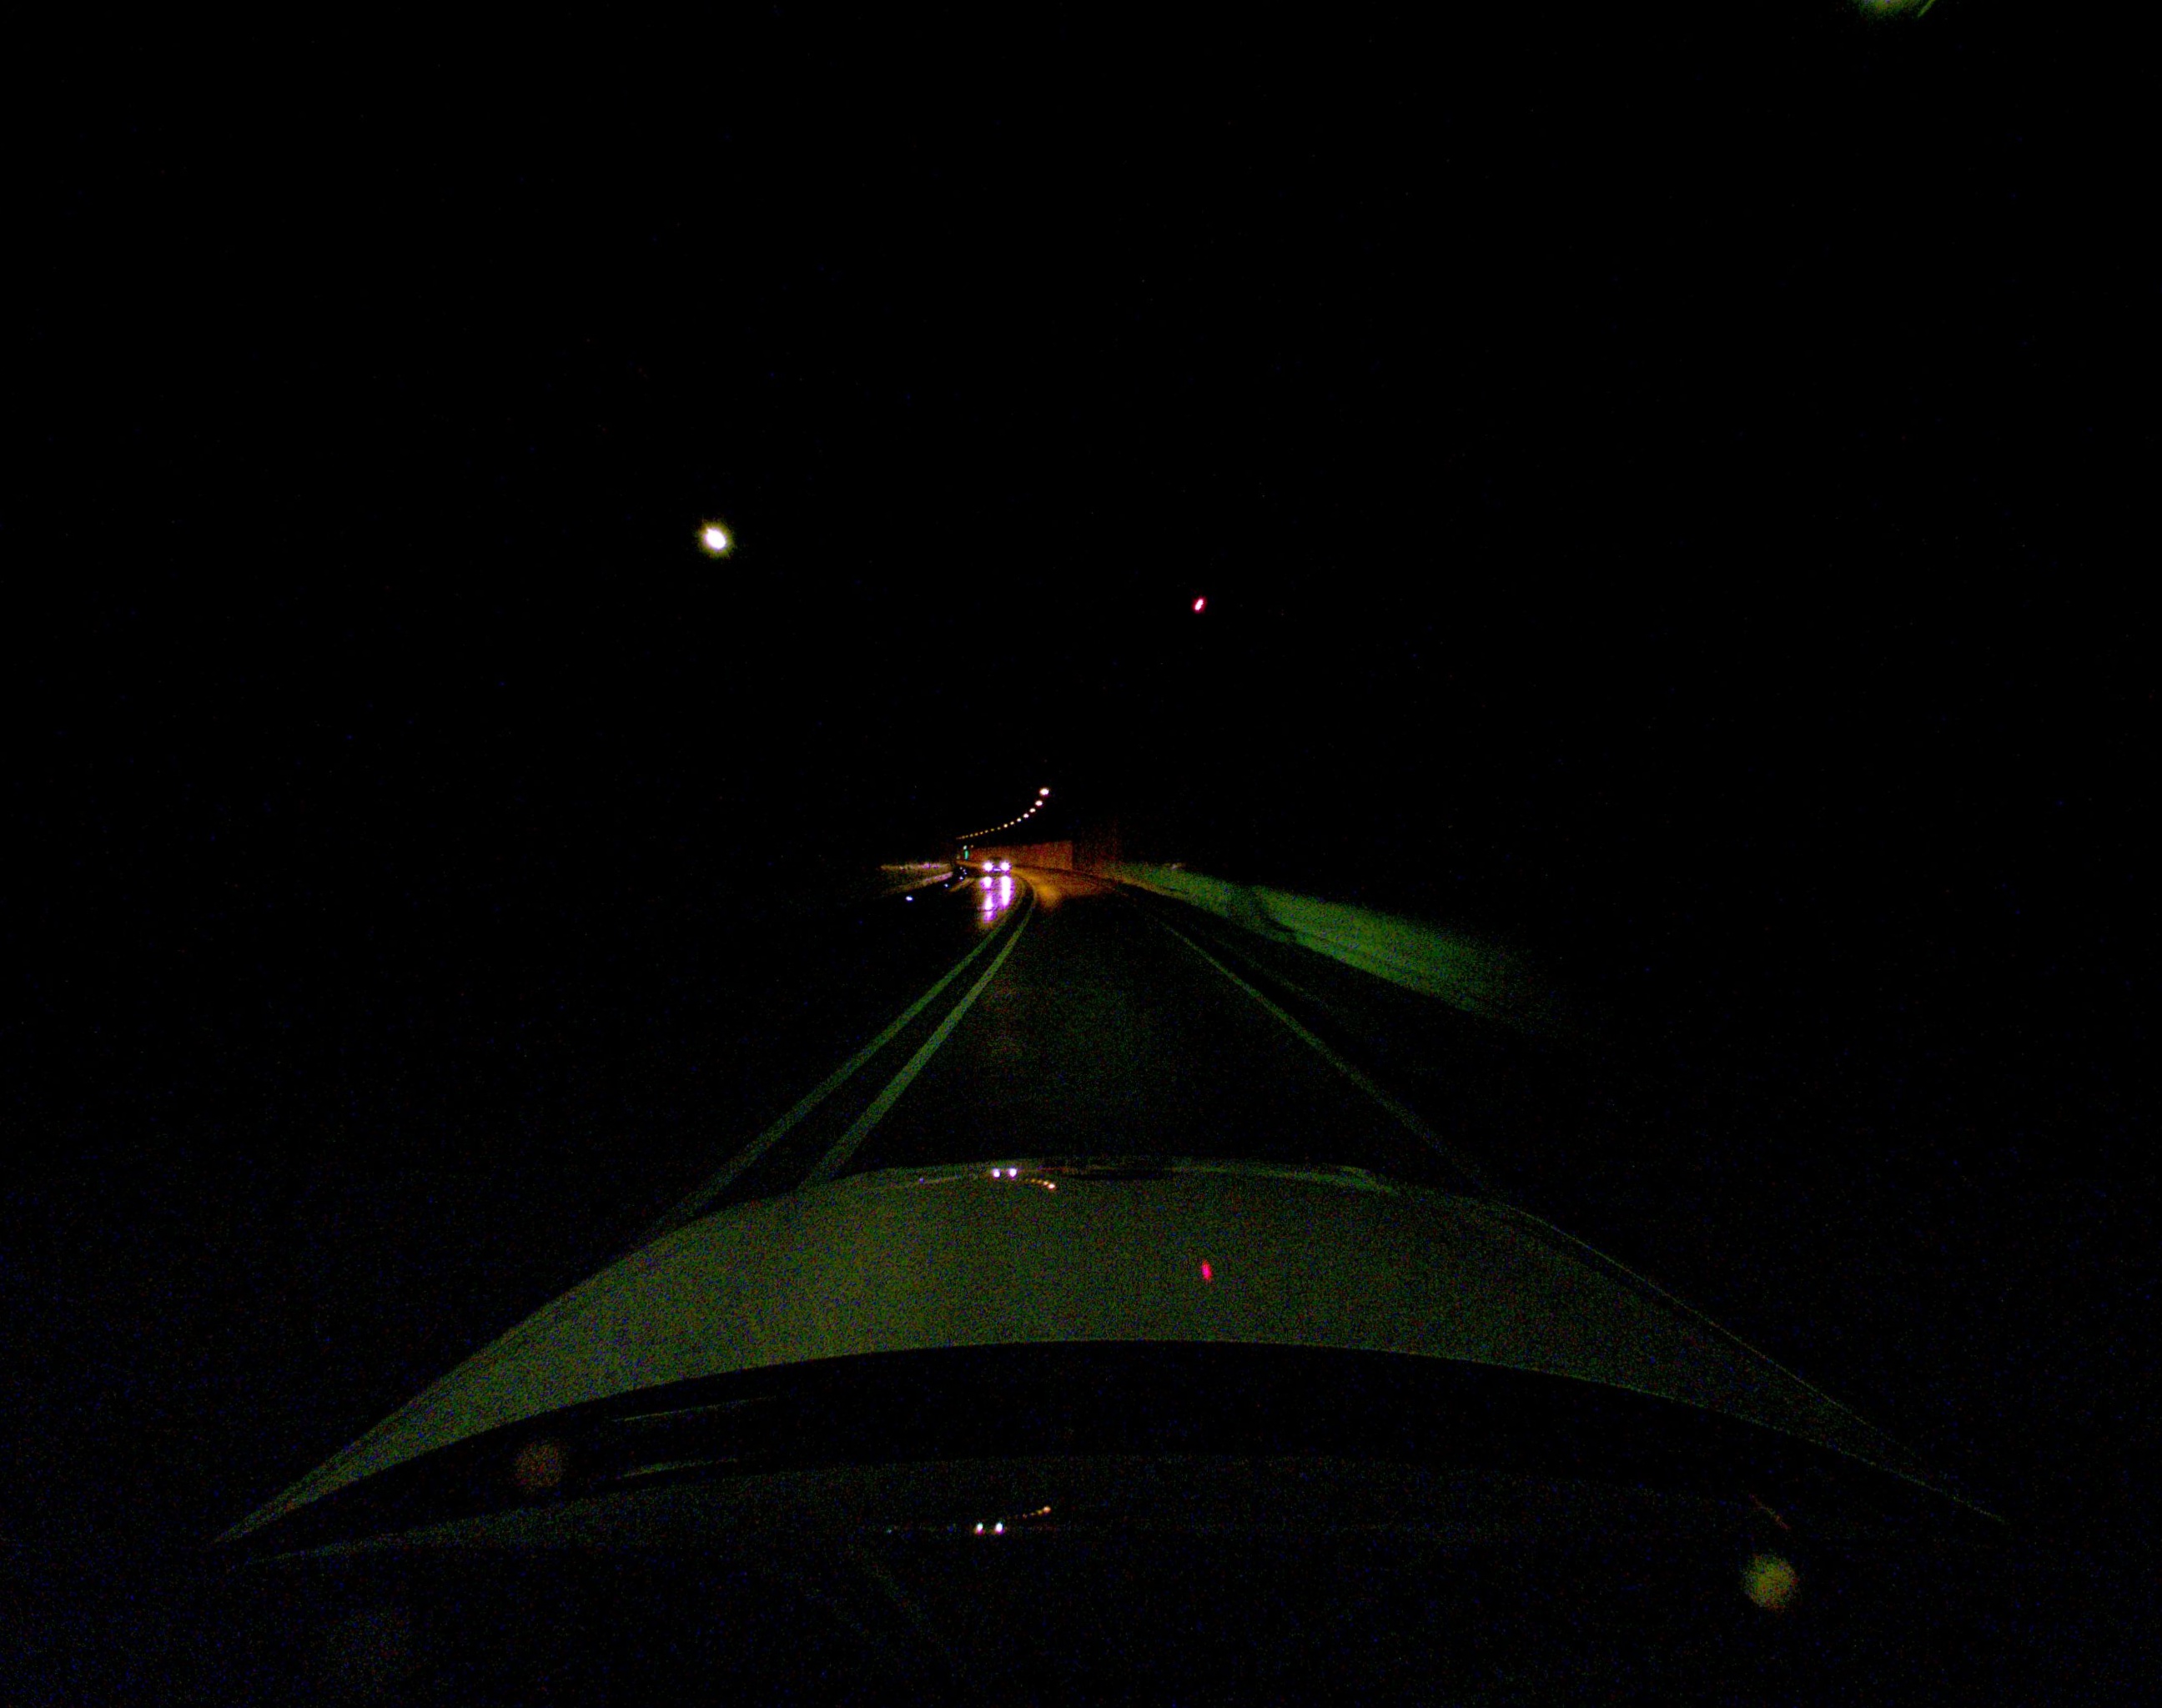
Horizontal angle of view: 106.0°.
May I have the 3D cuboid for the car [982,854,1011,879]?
[{"bbox_3d":[-6.641,0.976,63.673,1.992,1.740,3.989,4,-1,-8],"label":"car"}]
